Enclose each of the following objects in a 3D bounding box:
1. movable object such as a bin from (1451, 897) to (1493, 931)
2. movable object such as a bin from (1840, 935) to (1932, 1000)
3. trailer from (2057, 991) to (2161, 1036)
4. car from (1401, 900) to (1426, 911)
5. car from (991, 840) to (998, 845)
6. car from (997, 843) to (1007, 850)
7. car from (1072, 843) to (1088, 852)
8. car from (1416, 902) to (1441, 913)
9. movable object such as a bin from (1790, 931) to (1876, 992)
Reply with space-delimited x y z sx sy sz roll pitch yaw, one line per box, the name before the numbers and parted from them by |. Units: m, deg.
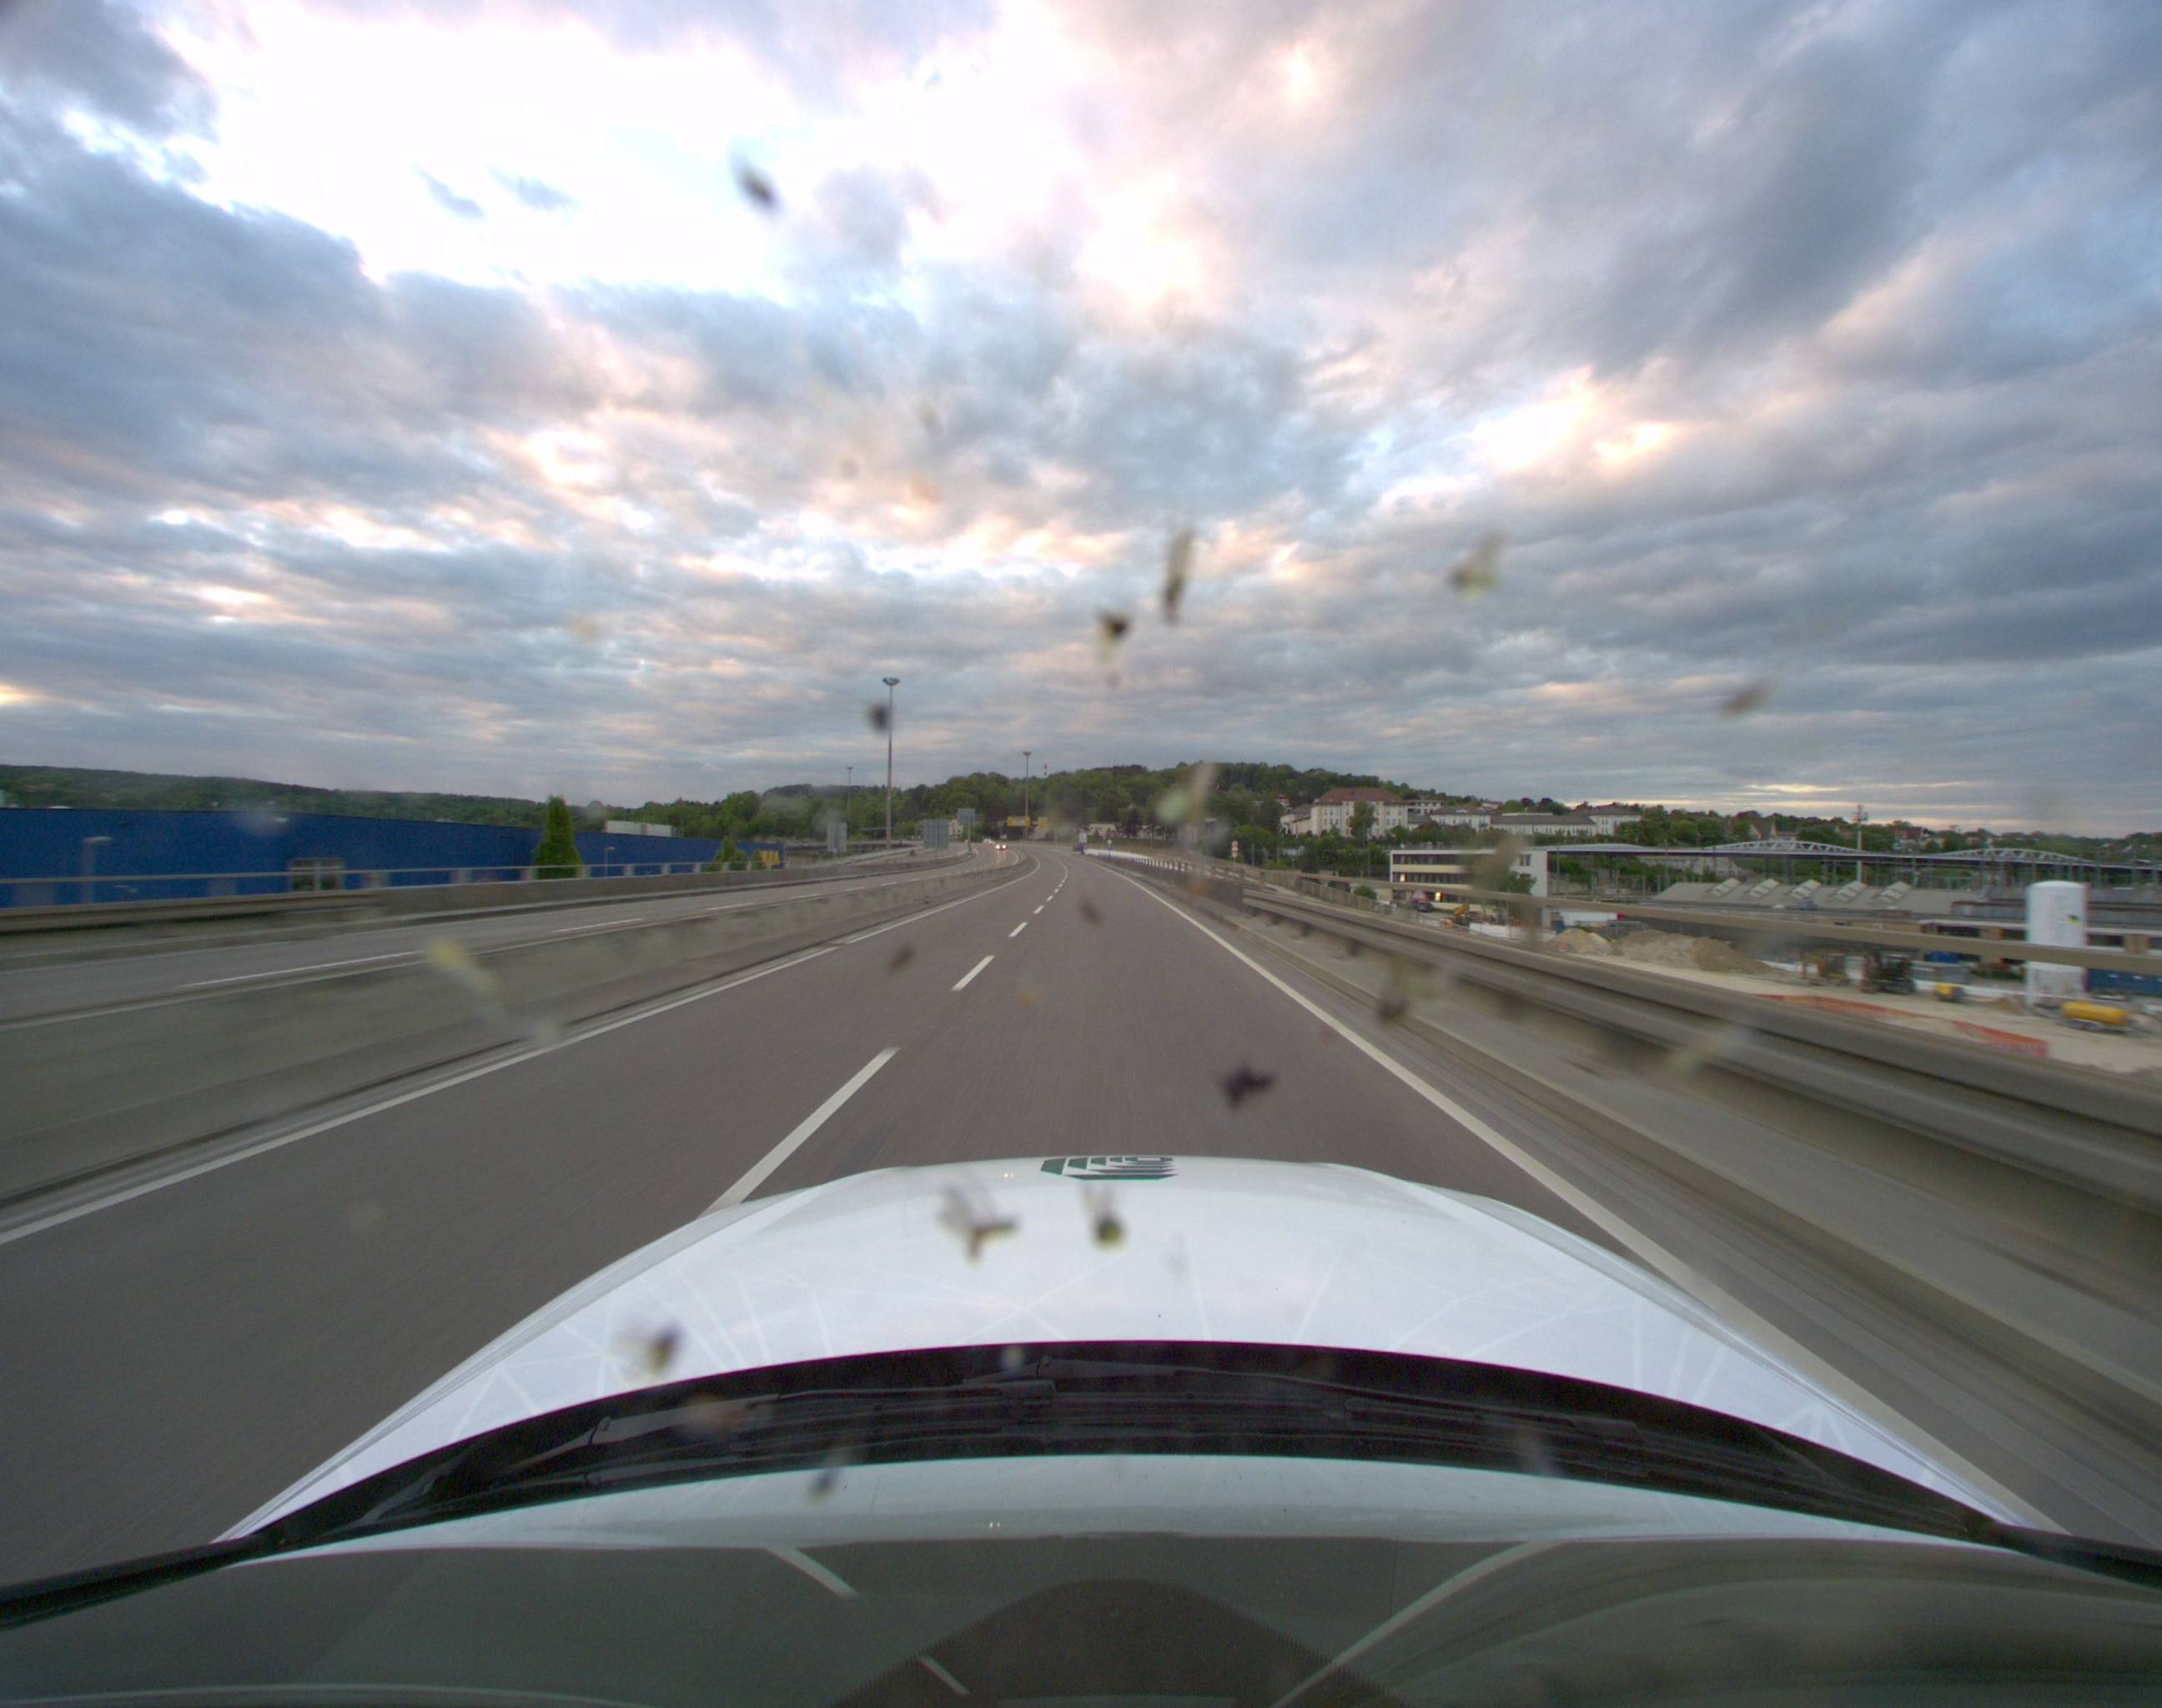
movable object such as a bin | 57.235 8.766 119.422 2.777 4.310 4.938 6 0 -12
movable object such as a bin | 63.086 8.894 63.879 4.948 4.310 2.771 6 0 -15
trailer | 63.098 9.740 49.787 1.991 1.803 3.836 6 0 -6
car | 56.368 8.801 138.006 4.015 1.565 1.813 4 2 -34
car | -26.145 -3.447 245.357 1.633 1.387 3.981 -1 2 -14
car | -17.392 -1.583 178.404 1.829 1.480 4.272 0 0 -10
car | -0.189 -1.385 169.010 2.309 1.763 4.240 1 1 -15
car | 56.950 8.781 133.454 4.015 1.565 1.813 4 2 -34
movable object such as a bin | 62.286 8.913 67.509 4.948 4.310 2.771 6 0 -15
